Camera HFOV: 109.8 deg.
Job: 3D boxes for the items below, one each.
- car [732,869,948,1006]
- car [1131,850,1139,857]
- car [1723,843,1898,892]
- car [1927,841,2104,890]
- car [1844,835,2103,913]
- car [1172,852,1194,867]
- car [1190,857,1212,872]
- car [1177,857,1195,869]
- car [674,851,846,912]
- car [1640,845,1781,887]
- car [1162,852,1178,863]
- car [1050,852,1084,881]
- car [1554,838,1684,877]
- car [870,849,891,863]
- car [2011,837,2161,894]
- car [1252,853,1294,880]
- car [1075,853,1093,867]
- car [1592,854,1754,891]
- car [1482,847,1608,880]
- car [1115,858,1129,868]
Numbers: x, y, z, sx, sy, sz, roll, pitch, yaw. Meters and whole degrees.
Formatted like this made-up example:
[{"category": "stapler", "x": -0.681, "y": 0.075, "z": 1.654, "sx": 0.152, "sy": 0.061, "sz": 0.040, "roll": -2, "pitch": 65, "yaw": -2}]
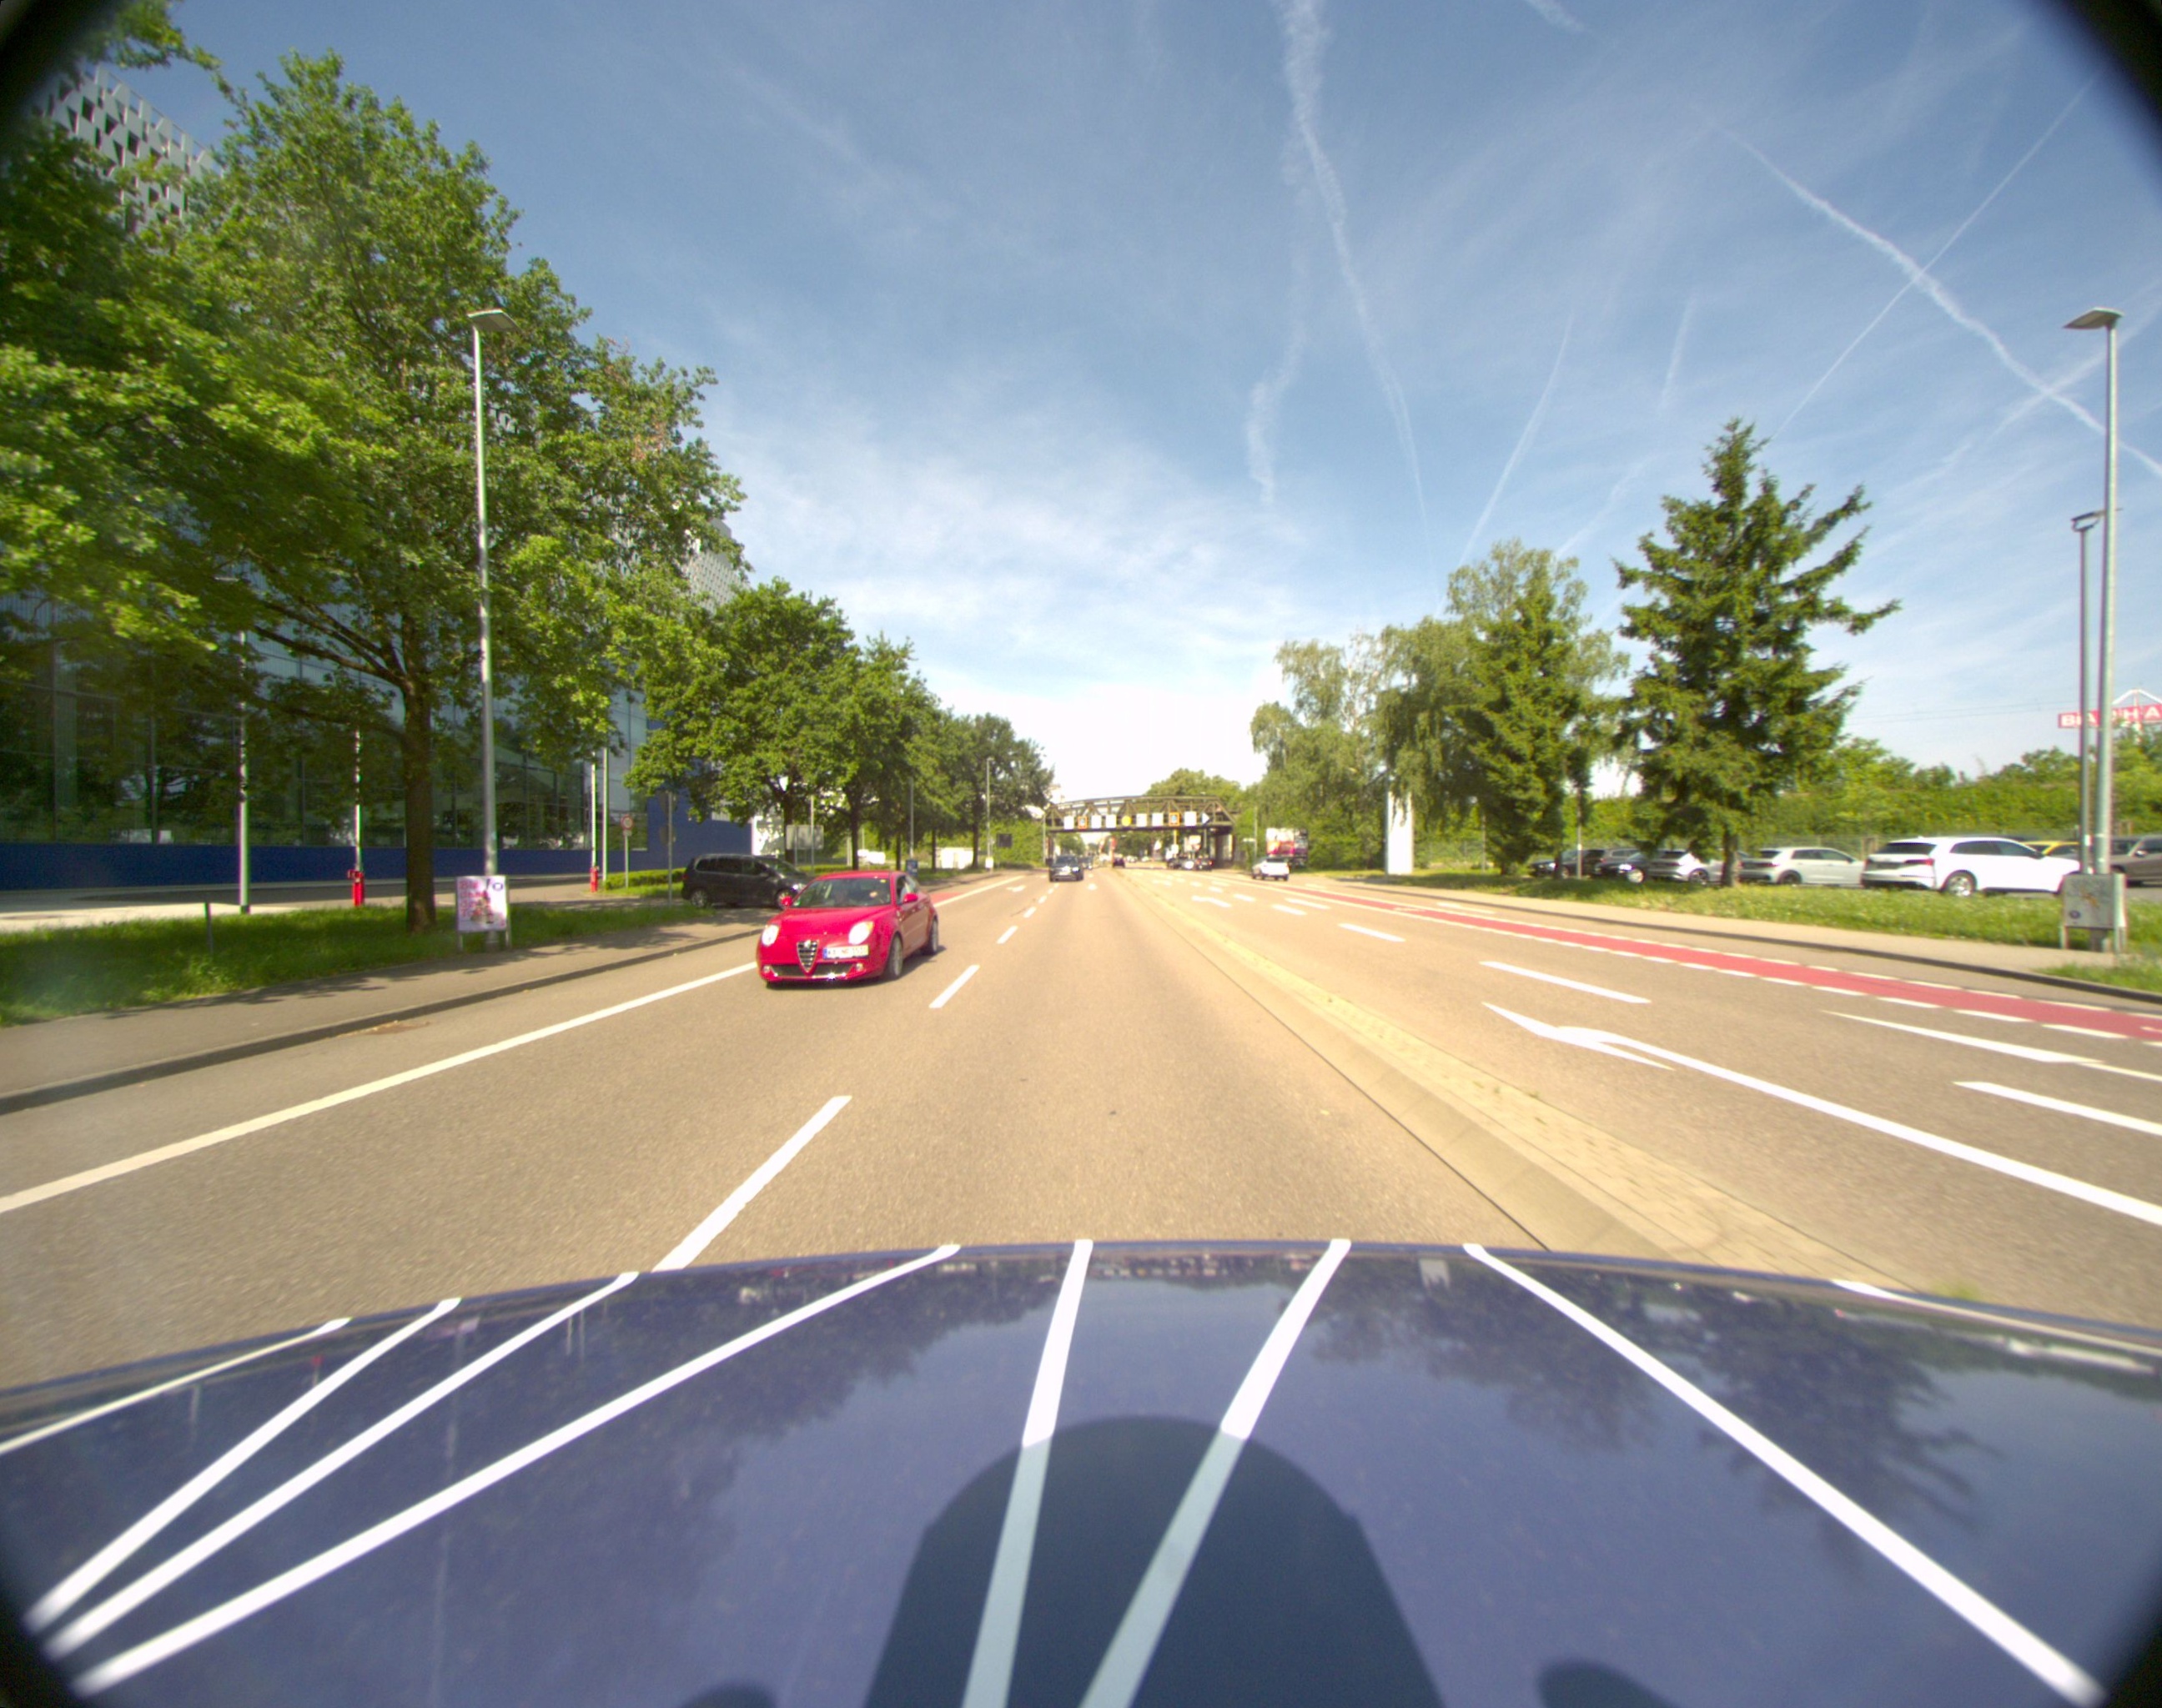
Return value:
[{"category": "car", "x": -3.193, "y": 1.031, "z": 10.967, "sx": 1.798, "sy": 1.446, "sz": 3.978, "roll": -1, "pitch": 1, "yaw": 0}, {"category": "car", "x": 14.768, "y": -0.081, "z": 206.860, "sx": 1.824, "sy": 1.711, "sz": 3.636, "roll": -2, "pitch": 0, "yaw": -2}, {"category": "car", "x": 24.562, "y": 0.437, "z": 25.696, "sx": 3.996, "sy": 1.477, "sz": 1.848, "roll": -2, "pitch": 0, "yaw": 4}, {"category": "car", "x": 34.207, "y": 0.393, "z": 27.910, "sx": 3.997, "sy": 1.612, "sz": 2.000, "roll": -2, "pitch": 0, "yaw": 1}, {"category": "car", "x": 23.554, "y": 0.508, "z": 20.203, "sx": 4.474, "sy": 1.864, "sz": 2.000, "roll": -2, "pitch": 0, "yaw": 1}, {"category": "car", "x": 13.398, "y": 0.736, "z": 100.046, "sx": 1.998, "sy": 1.850, "sz": 5.450, "roll": 2, "pitch": 0, "yaw": 0}, {"category": "car", "x": 12.932, "y": 1.079, "z": 81.881, "sx": 1.702, "sy": 1.510, "sz": 4.027, "roll": 1, "pitch": 0, "yaw": 0}, {"category": "car", "x": 12.756, "y": 1.125, "z": 92.328, "sx": 1.639, "sy": 1.379, "sz": 4.318, "roll": 1, "pitch": 0, "yaw": 1}, {"category": "car", "x": -9.674, "y": 0.786, "z": 23.063, "sx": 4.452, "sy": 1.684, "sz": 1.845, "roll": 1, "pitch": 1, "yaw": 7}, {"category": "car", "x": 23.107, "y": 0.425, "z": 27.982, "sx": 3.689, "sy": 1.363, "sz": 1.816, "roll": -2, "pitch": 0, "yaw": 0}, {"category": "car", "x": 13.252, "y": 0.542, "z": 113.753, "sx": 1.877, "sy": 1.586, "sz": 4.387, "roll": 0, "pitch": 0, "yaw": 0}, {"category": "car", "x": -0.783, "y": 0.698, "z": 45.035, "sx": 1.824, "sy": 1.632, "sz": 4.112, "roll": -2, "pitch": 0, "yaw": 1}, {"category": "car", "x": 23.440, "y": 0.136, "z": 33.209, "sx": 4.224, "sy": 1.537, "sz": 2.000, "roll": -2, "pitch": 0, "yaw": 0}, {"category": "car", "x": -24.862, "y": 0.254, "z": 94.114, "sx": 1.859, "sy": 1.629, "sz": 4.296, "roll": -2, "pitch": 0, "yaw": -23}, {"category": "car", "x": 34.039, "y": 0.349, "z": 25.160, "sx": 3.997, "sy": 1.747, "sz": 2.000, "roll": -2, "pitch": 0, "yaw": 1}, {"category": "car", "x": 12.468, "y": 0.799, "z": 49.602, "sx": 1.998, "sy": 1.608, "sz": 4.105, "roll": 1, "pitch": 0, "yaw": 4}, {"category": "car", "x": 0.321, "y": 0.674, "z": 83.450, "sx": 1.888, "sy": 1.427, "sz": 4.000, "roll": -2, "pitch": 0, "yaw": 0}, {"category": "car", "x": 23.419, "y": 0.704, "z": 30.182, "sx": 4.863, "sy": 1.261, "sz": 2.000, "roll": -2, "pitch": 0, "yaw": 0}, {"category": "car", "x": 21.879, "y": 0.450, "z": 35.942, "sx": 4.698, "sy": 1.381, "sz": 2.000, "roll": -2, "pitch": 0, "yaw": 0}, {"category": "car", "x": 5.912, "y": 1.273, "z": 109.837, "sx": 1.785, "sy": 1.438, "sz": 4.120, "roll": 0, "pitch": 1, "yaw": 1}]
